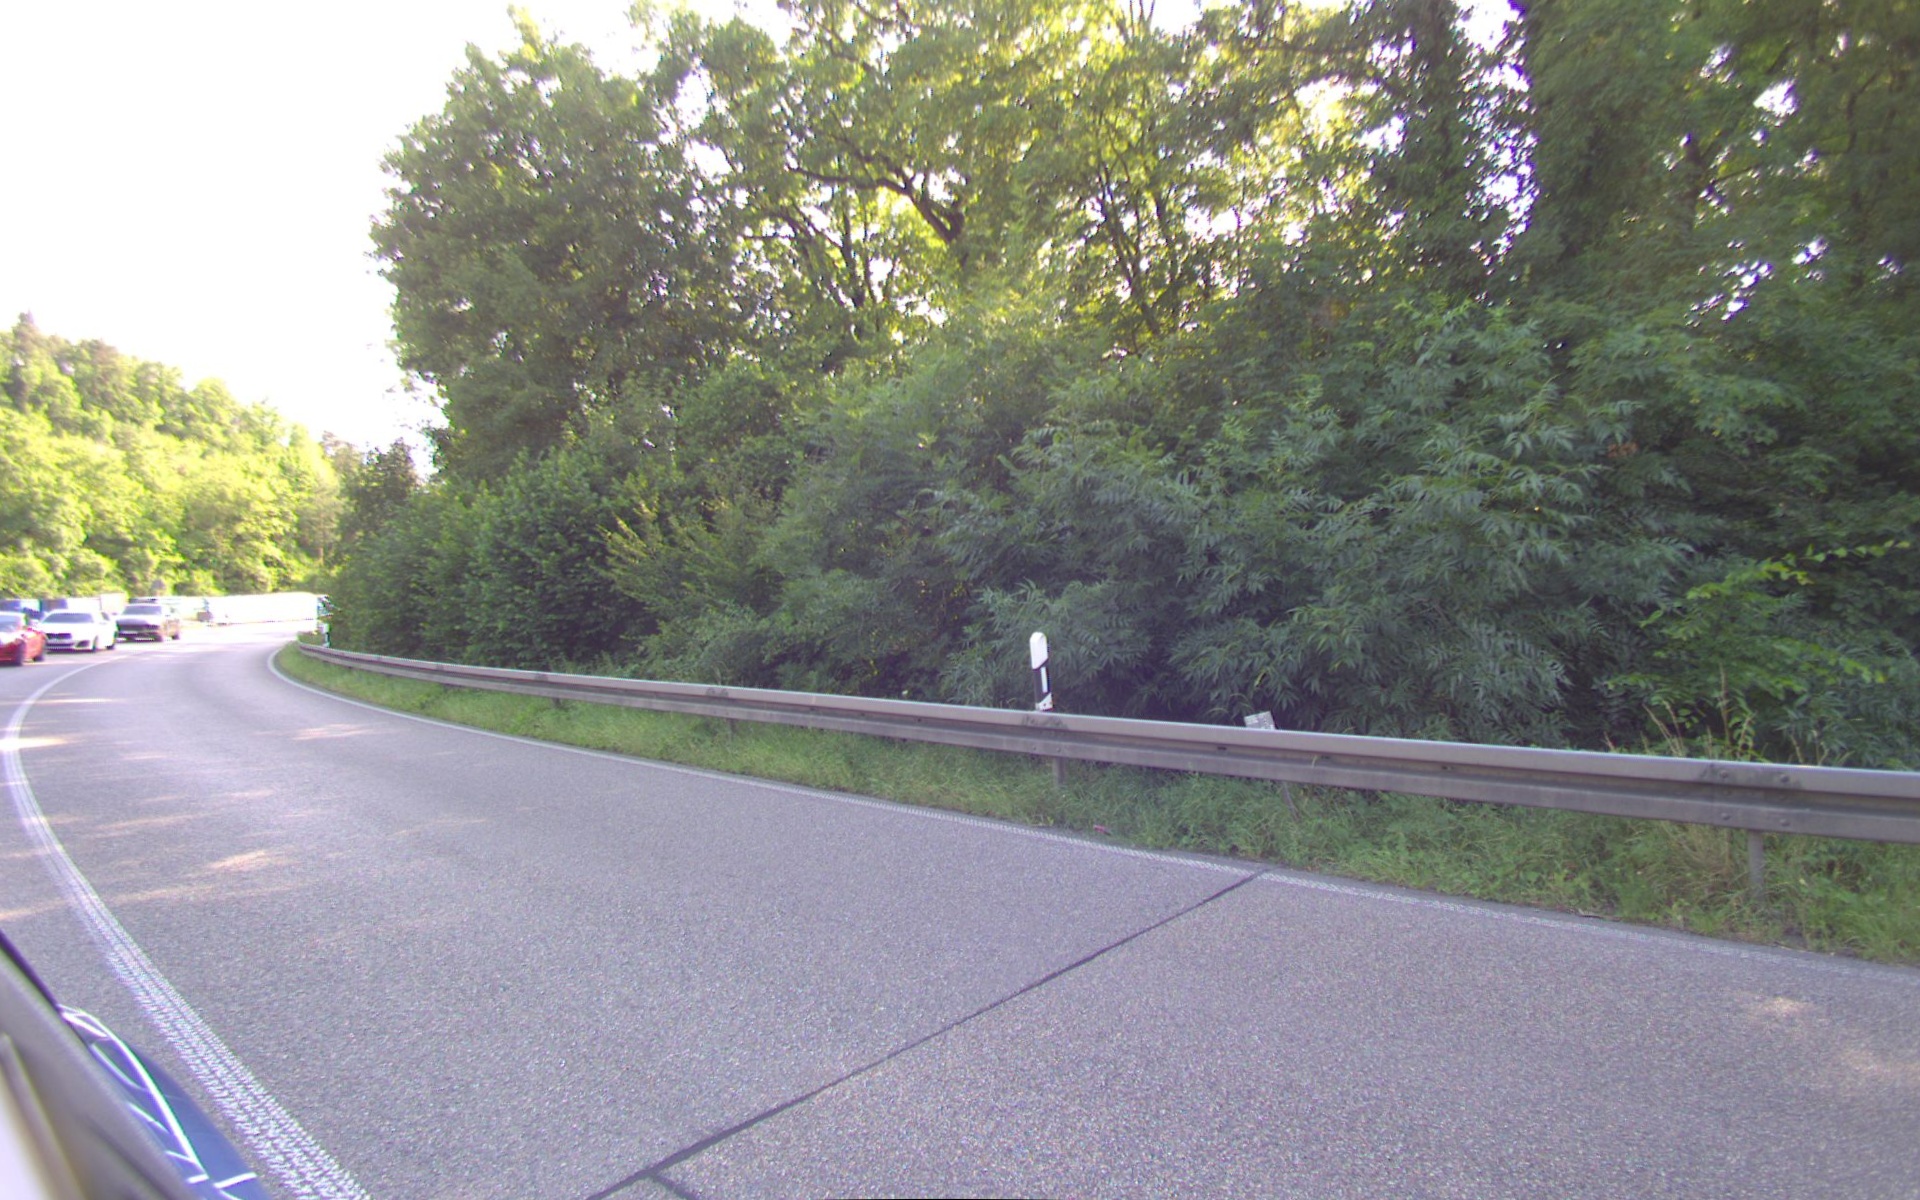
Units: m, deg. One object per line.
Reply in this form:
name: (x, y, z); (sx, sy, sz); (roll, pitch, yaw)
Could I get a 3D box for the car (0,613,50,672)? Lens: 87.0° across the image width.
car: (-26.276, 1.116, 27.440); (1.830, 1.431, 4.430); (-1, 1, -35)

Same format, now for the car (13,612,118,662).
car: (-30.849, 1.224, 35.048); (1.884, 1.476, 4.550); (-3, 1, -31)

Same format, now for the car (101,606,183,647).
car: (-35.964, 1.121, 44.615); (1.828, 1.608, 4.552); (-1, 0, -26)

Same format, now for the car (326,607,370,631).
car: (-42.713, 1.361, 70.694); (1.841, 1.577, 4.012); (-1, -1, -20)
